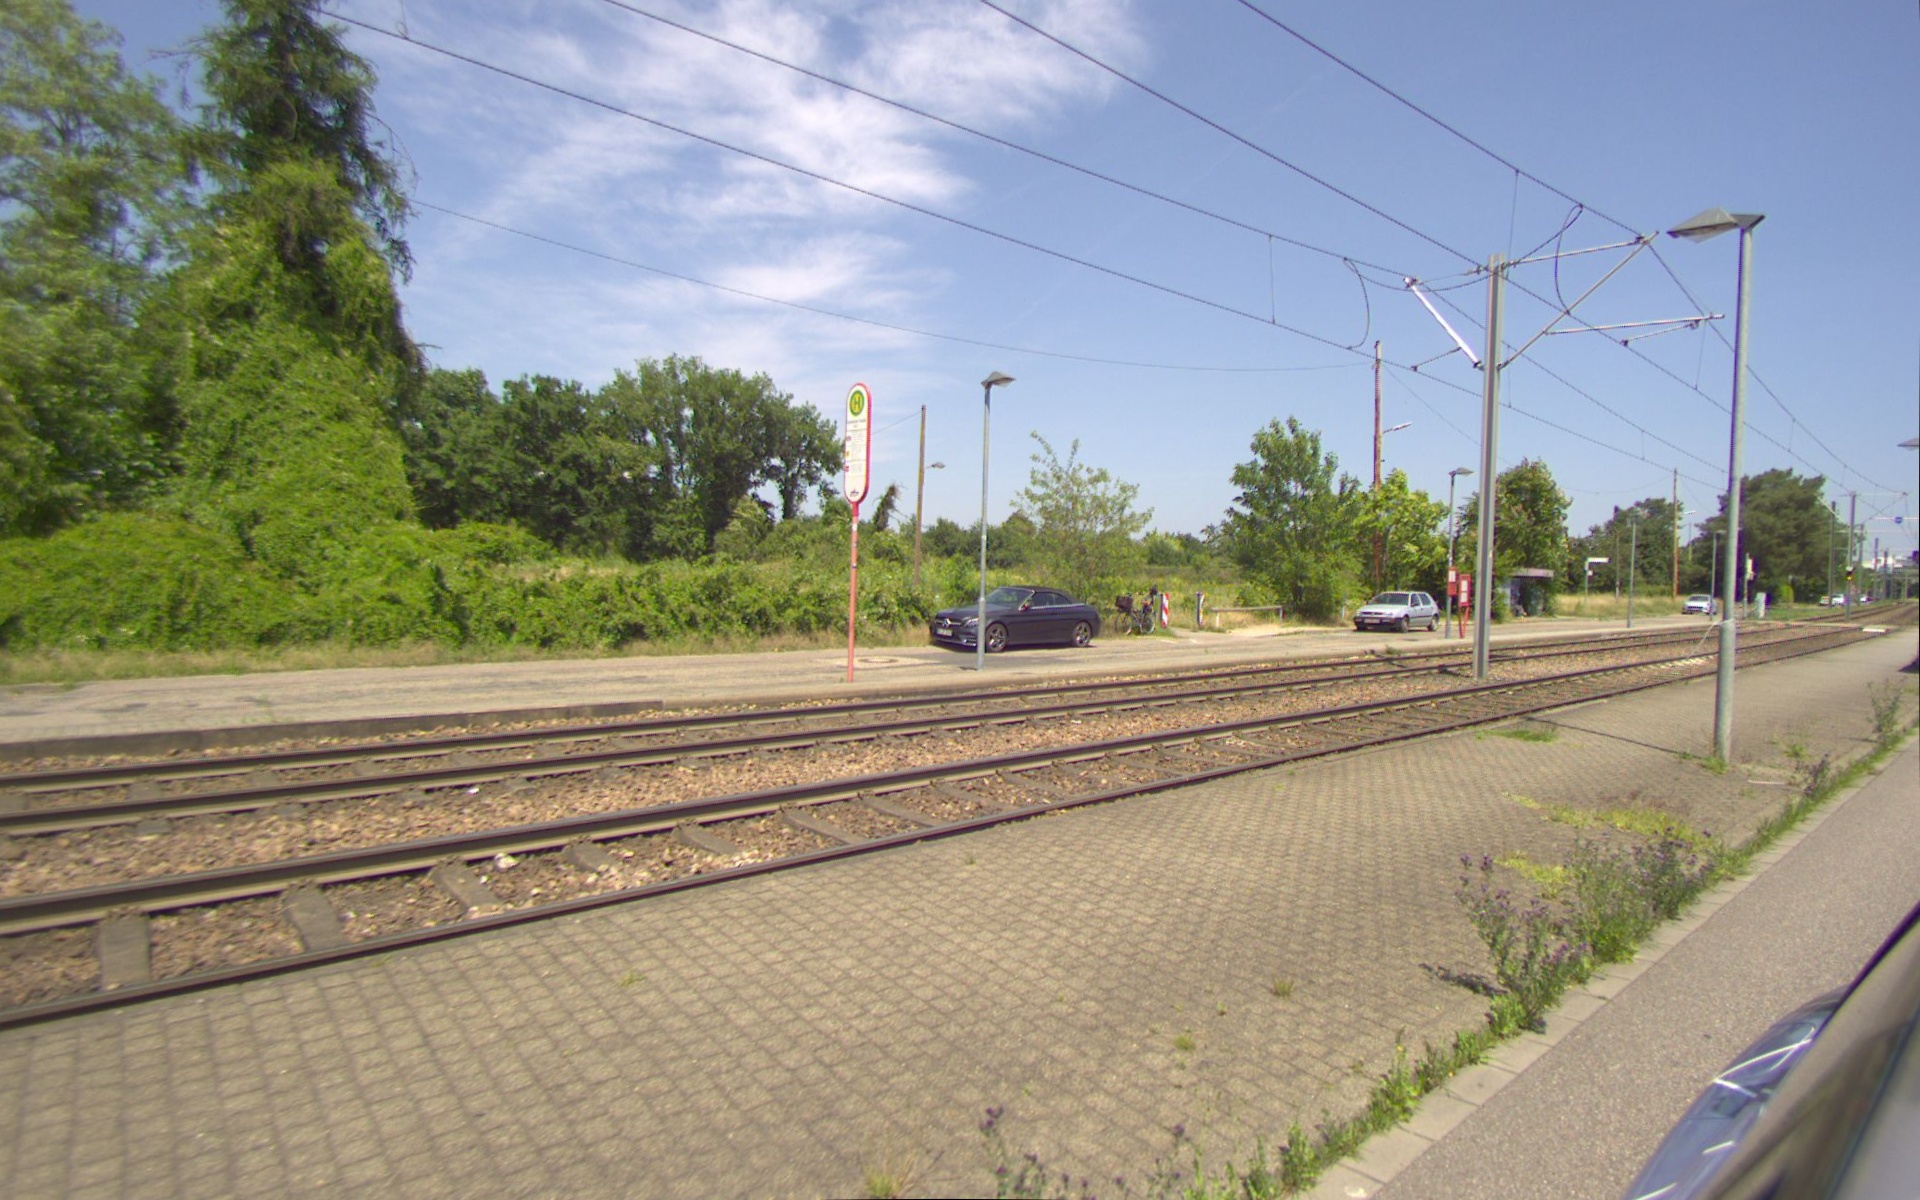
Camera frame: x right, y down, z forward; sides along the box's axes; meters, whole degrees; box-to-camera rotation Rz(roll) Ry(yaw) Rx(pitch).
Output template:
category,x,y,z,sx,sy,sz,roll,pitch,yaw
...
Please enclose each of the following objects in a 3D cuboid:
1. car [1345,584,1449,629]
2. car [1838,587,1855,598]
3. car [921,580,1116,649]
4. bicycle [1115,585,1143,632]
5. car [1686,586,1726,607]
category,x,y,z,sx,sy,sz,roll,pitch,yaw
car,15.360,0.187,35.473,3.932,1.440,1.941,-1,1,-43
car,146.678,-1.210,167.373,4.513,1.849,1.859,-1,1,-45
car,1.453,0.273,23.500,4.789,1.440,1.622,-1,1,-42
bicycle,4.987,0.234,29.840,0.693,1.284,1.674,2,2,13
car,54.467,-0.257,73.856,3.935,1.507,1.714,-1,1,-44
